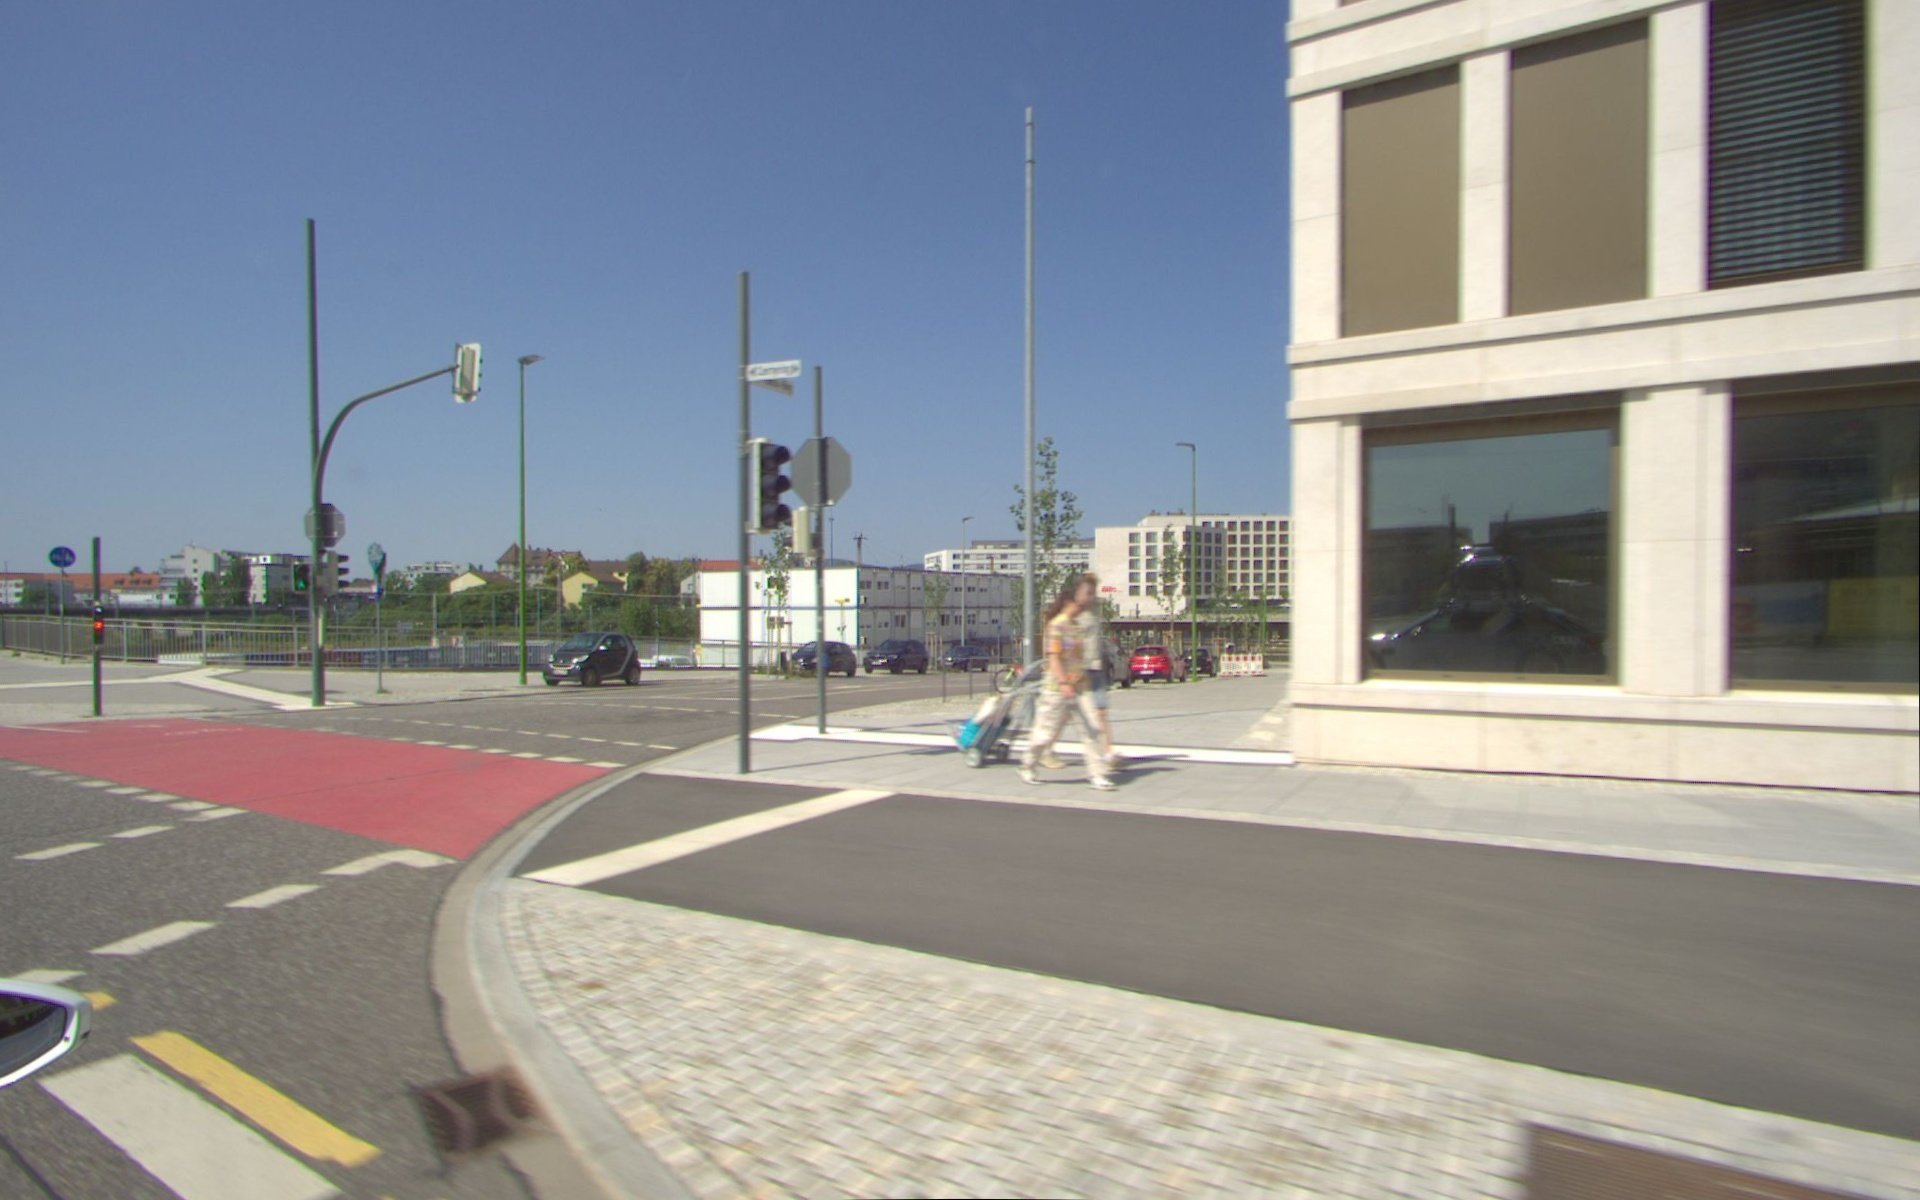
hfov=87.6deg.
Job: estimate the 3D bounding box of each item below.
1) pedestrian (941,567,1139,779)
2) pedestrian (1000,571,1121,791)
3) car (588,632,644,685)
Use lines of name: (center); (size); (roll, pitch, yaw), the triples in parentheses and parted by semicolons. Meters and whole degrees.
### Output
pedestrian: (0.752, 0.647, 9.506); (1.640, 1.850, 0.876); (-1, 0, 31)
pedestrian: (0.858, 0.661, 8.469); (0.785, 1.745, 0.699); (-1, -1, 31)
car: (-10.287, 1.742, 30.110); (1.433, 1.482, 3.365); (0, -3, -16)
